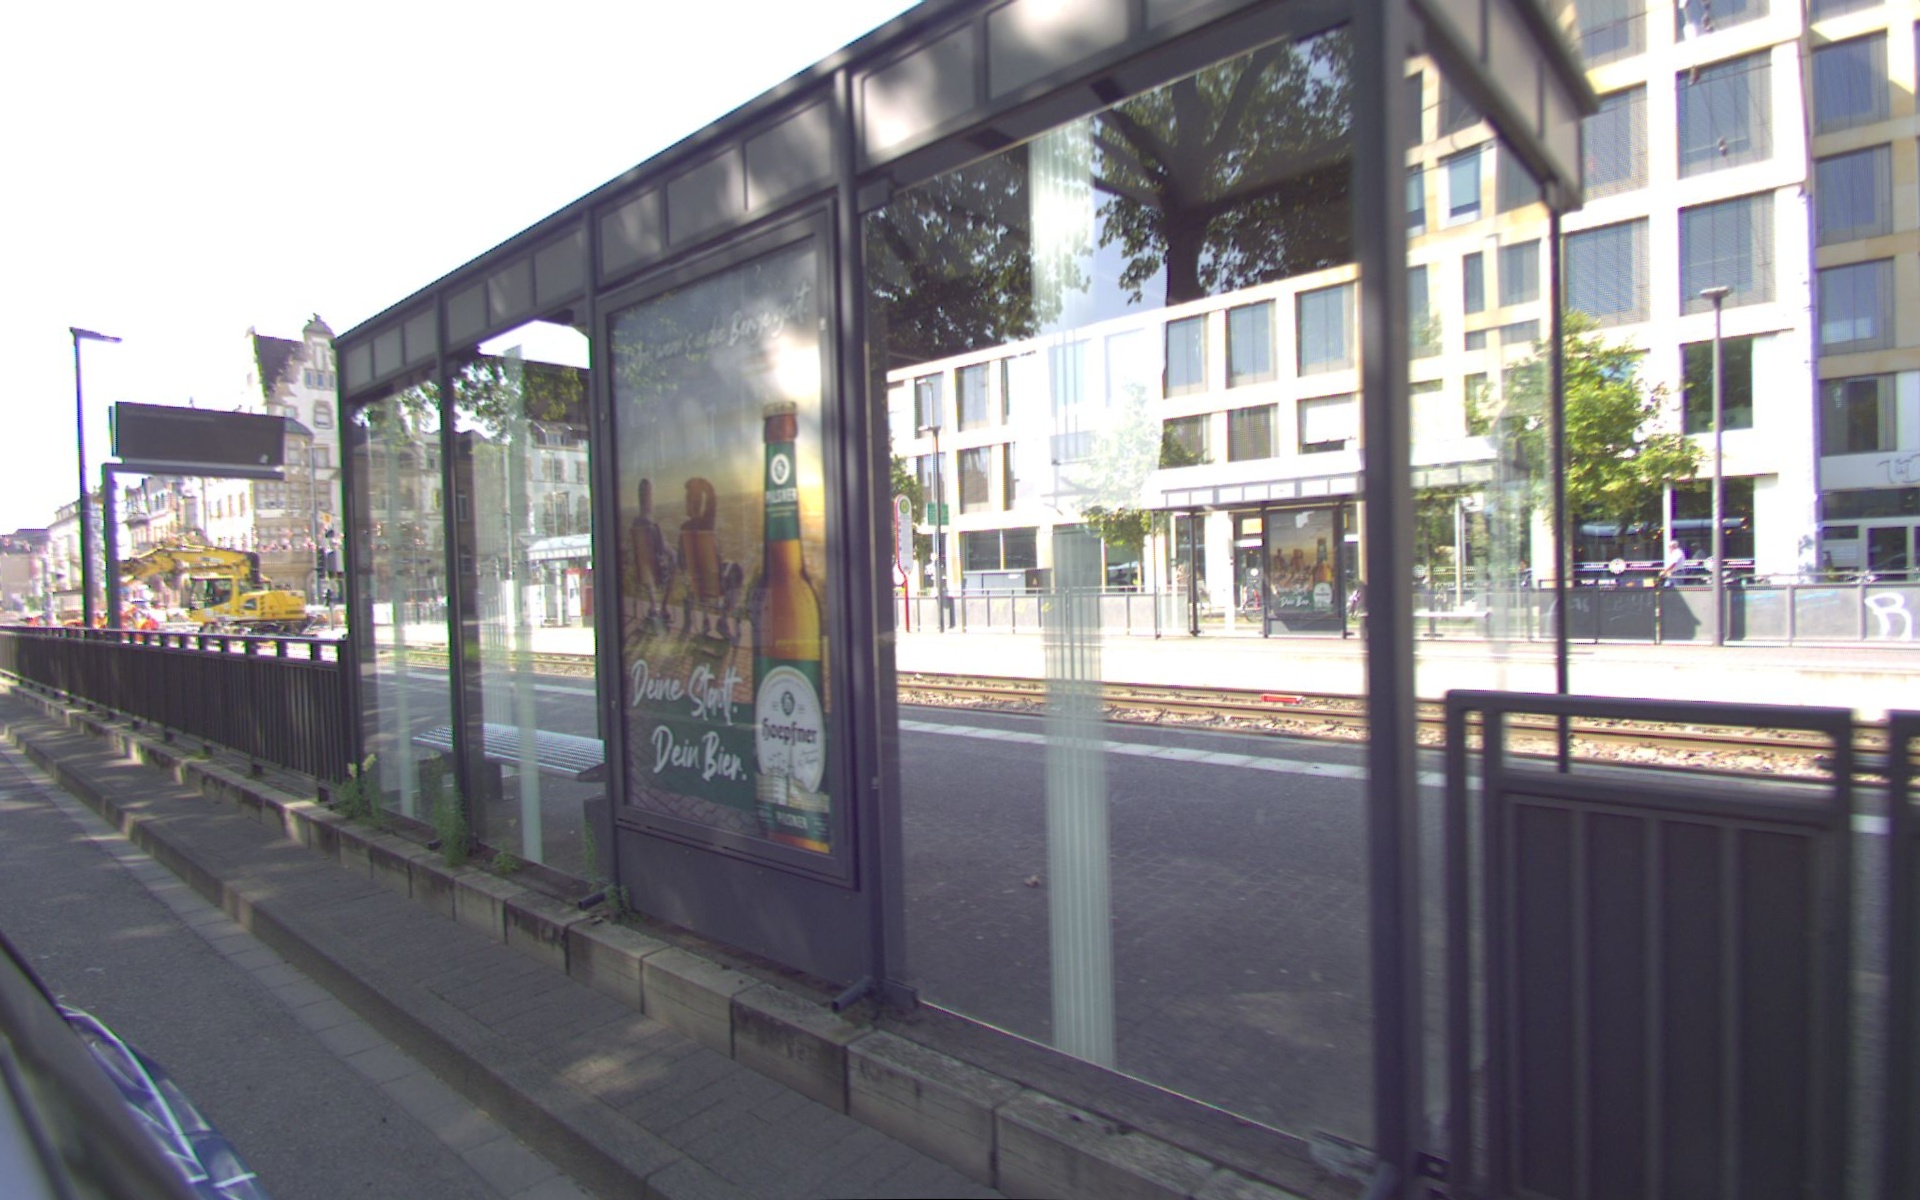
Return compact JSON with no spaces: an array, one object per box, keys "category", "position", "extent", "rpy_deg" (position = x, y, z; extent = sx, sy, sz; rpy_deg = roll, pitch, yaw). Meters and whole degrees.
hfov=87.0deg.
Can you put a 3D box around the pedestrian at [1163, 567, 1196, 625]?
[{"category":"pedestrian","position":[7.822,-0.153,36.004],"extent":[0.758,2.029,0.822],"rpy_deg":[-1,0,-45]}]

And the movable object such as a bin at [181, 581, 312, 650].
[{"category":"movable object such as a bin","position":[-35.546,0.740,50.511],"extent":[3.549,3.247,4.089],"rpy_deg":[-2,0,26]}]

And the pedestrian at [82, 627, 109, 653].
[{"category":"pedestrian","position":[-33.798,1.544,39.574],"extent":[0.882,0.962,0.693],"rpy_deg":[-2,0,42]}]

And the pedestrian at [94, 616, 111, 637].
[{"category":"pedestrian","position":[-52.883,1.651,62.409],"extent":[0.547,1.256,0.669],"rpy_deg":[-2,0,40]}]

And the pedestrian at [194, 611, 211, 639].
[{"category":"pedestrian","position":[-47.450,1.531,63.372],"extent":[0.728,1.715,0.761],"rpy_deg":[-2,0,-29]}]

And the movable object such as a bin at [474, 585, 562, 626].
[{"category":"movable object such as a bin","position":[-32.908,0.359,75.449],"extent":[2.490,2.810,5.444],"rpy_deg":[0,3,42]}]

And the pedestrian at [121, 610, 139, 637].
[{"category":"pedestrian","position":[-53.342,1.522,65.036],"extent":[0.678,1.715,0.743],"rpy_deg":[-2,0,41]}]

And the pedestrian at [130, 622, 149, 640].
[{"category":"pedestrian","position":[-53.615,2.030,66.092],"extent":[0.865,1.192,0.723],"rpy_deg":[0,-1,34]}]

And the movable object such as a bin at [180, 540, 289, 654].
[{"category":"movable object such as a bin","position":[-30.942,-0.110,43.113],"extent":[4.213,4.588,2.954],"rpy_deg":[-2,0,44]}]

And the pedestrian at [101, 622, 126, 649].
[{"category":"pedestrian","position":[-37.886,1.577,45.302],"extent":[0.691,1.186,0.704],"rpy_deg":[-2,0,-28]}]

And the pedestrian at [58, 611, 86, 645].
[{"category":"pedestrian","position":[-39.314,1.237,44.804],"extent":[0.730,1.490,0.705],"rpy_deg":[-2,0,-26]}]

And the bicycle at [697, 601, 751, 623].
[{"category":"bicycle","position":[-11.453,0.575,49.089],"extent":[1.020,0.975,2.406],"rpy_deg":[-2,0,40]}]

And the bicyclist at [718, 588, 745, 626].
[{"category":"bicyclist","position":[-8.495,0.254,37.658],"extent":[0.784,1.413,0.622],"rpy_deg":[0,-1,41]}]

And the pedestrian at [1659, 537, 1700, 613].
[{"category":"pedestrian","position":[18.709,-0.639,26.314],"extent":[0.837,1.931,0.786],"rpy_deg":[0,-1,36]}]

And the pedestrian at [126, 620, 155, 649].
[{"category":"pedestrian","position":[-33.433,1.400,41.291],"extent":[0.692,1.163,0.589],"rpy_deg":[-2,0,-9]}]

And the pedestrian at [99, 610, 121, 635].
[{"category":"pedestrian","position":[-54.376,1.435,64.765],"extent":[0.727,1.568,0.753],"rpy_deg":[-2,0,-1]}]

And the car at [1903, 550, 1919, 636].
[{"category":"car","position":[17.846,-0.162,16.486],"extent":[3.502,1.439,1.538],"rpy_deg":[-1,0,40]}]

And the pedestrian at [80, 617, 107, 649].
[{"category":"pedestrian","position":[-37.658,1.428,43.988],"extent":[0.691,1.345,0.839],"rpy_deg":[-2,0,-27]}]

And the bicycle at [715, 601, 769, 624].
[{"category":"bicycle","position":[-10.349,0.582,48.169],"extent":[0.944,0.975,2.406],"rpy_deg":[-2,0,40]}]

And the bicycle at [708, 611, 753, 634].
[{"category":"bicycle","position":[-8.548,0.827,37.688],"extent":[1.897,0.828,0.622],"rpy_deg":[0,-1,42]}]
